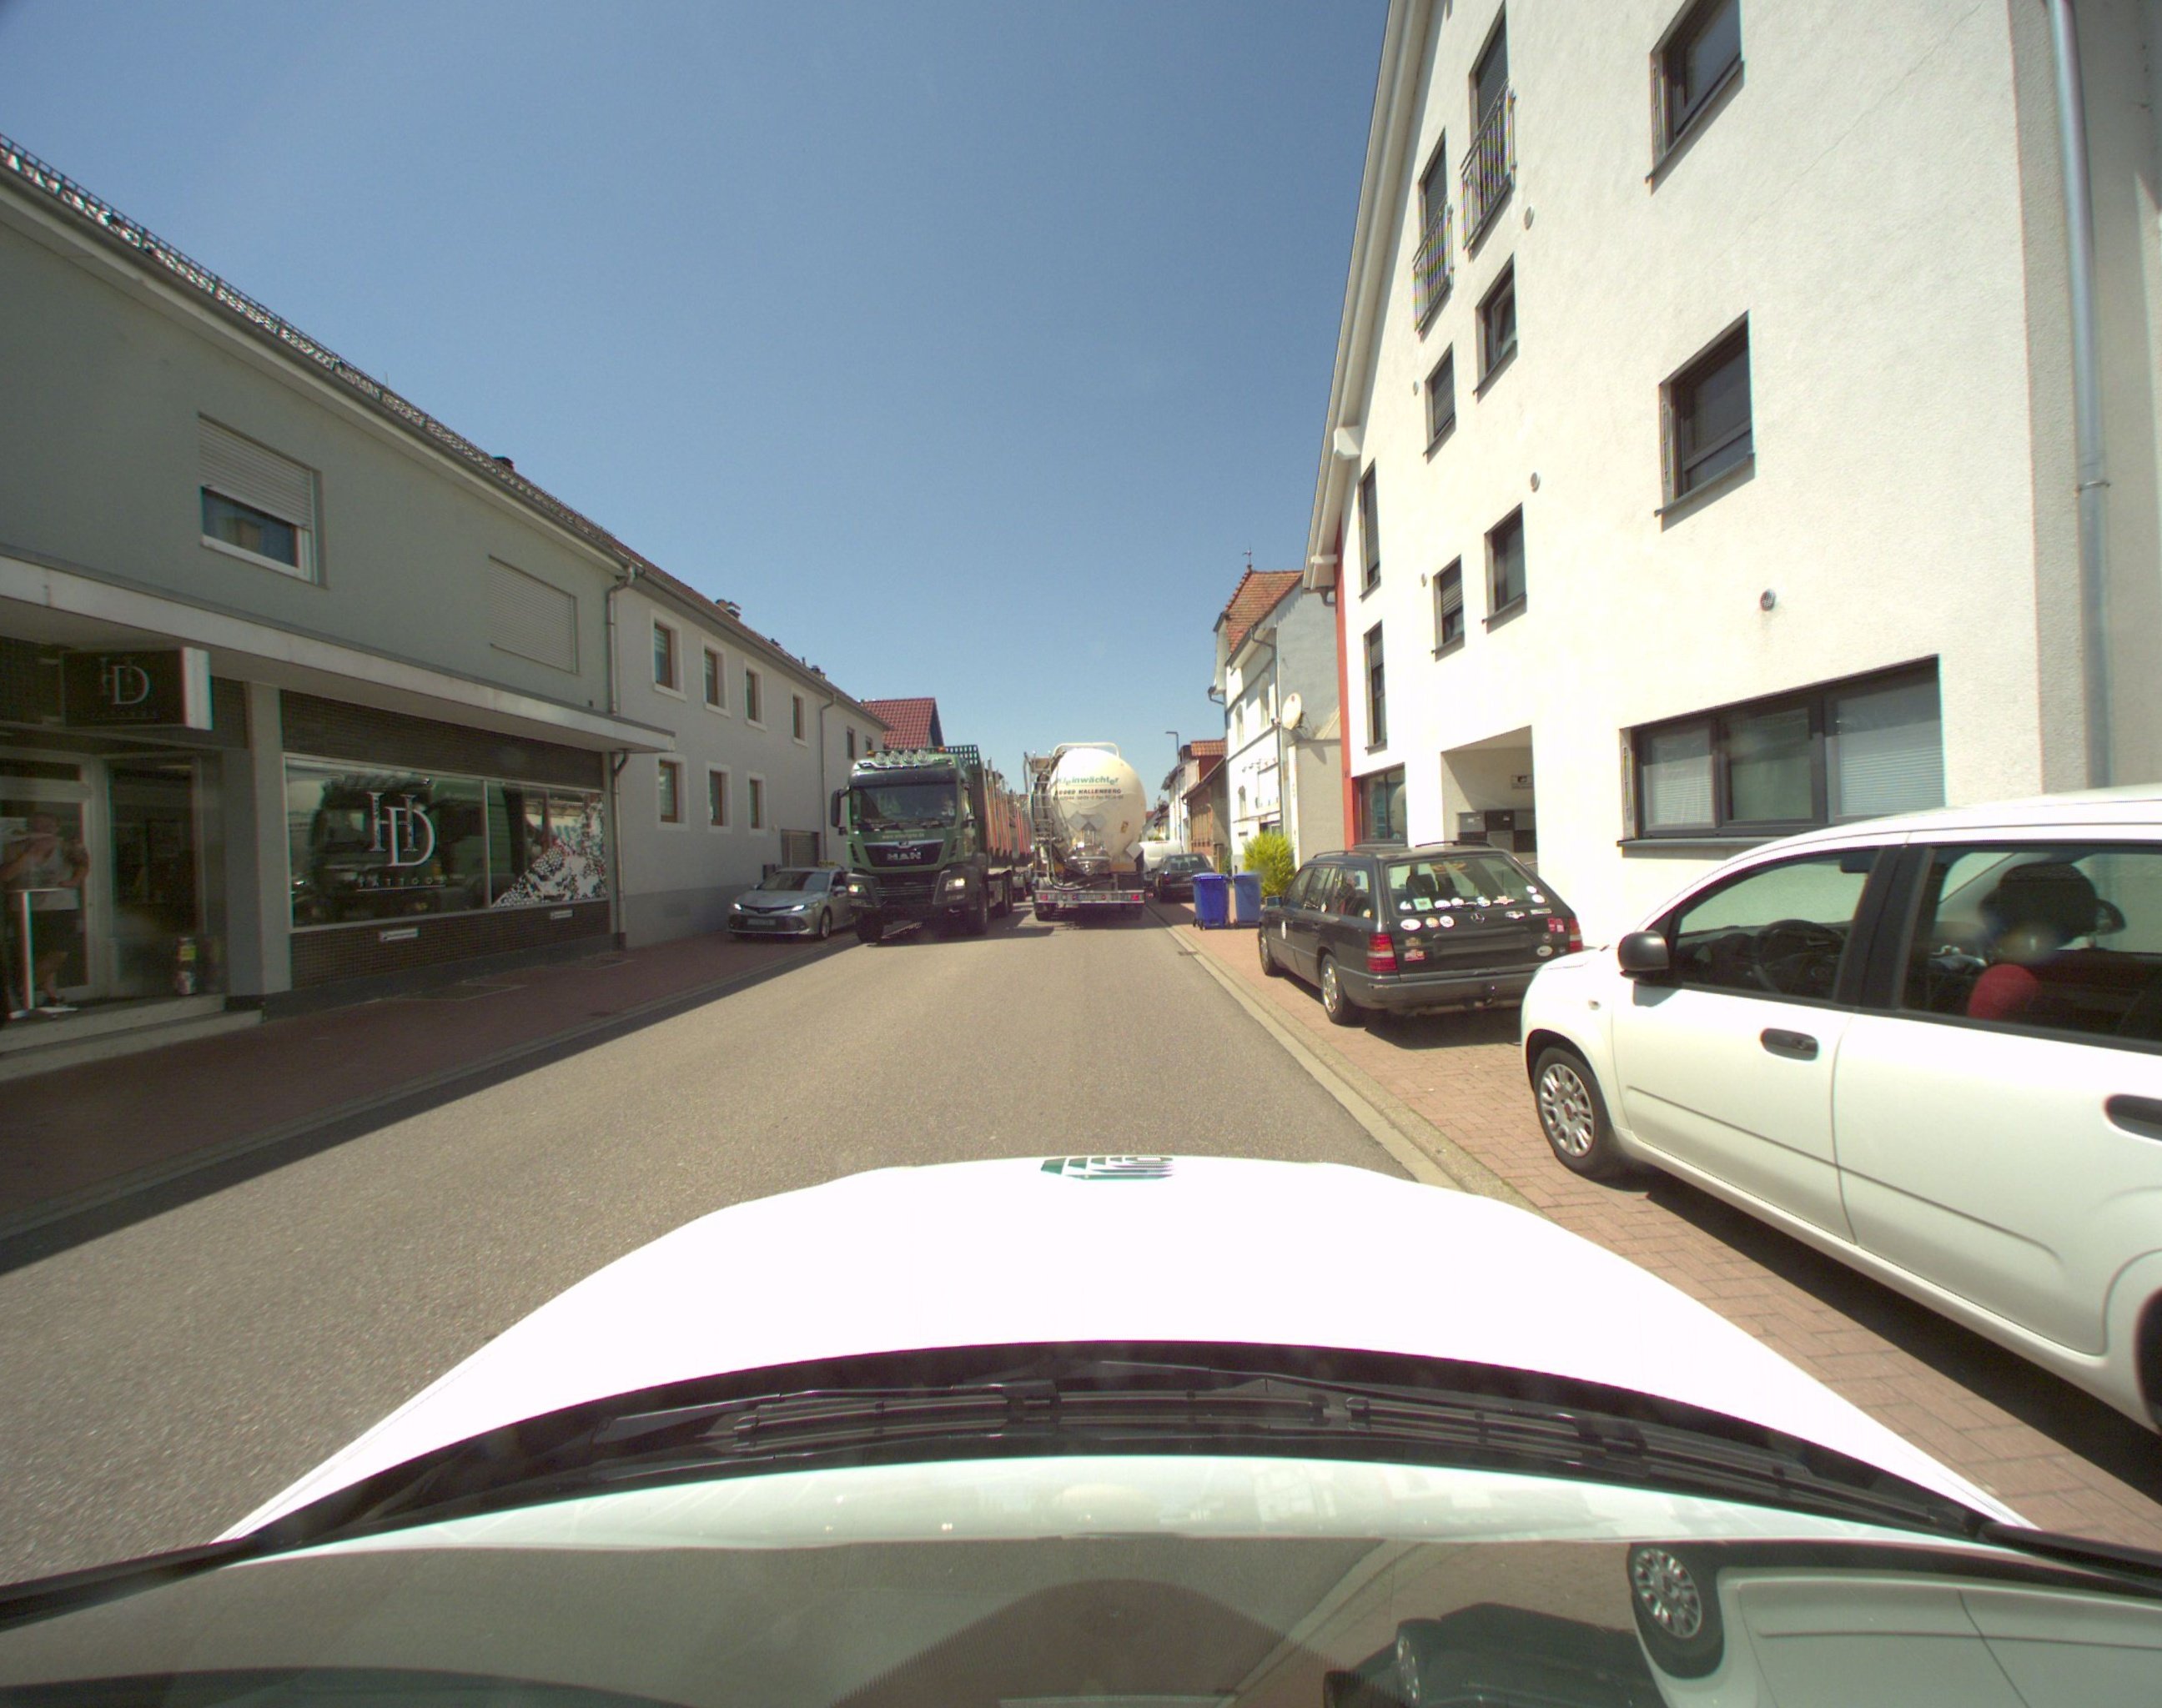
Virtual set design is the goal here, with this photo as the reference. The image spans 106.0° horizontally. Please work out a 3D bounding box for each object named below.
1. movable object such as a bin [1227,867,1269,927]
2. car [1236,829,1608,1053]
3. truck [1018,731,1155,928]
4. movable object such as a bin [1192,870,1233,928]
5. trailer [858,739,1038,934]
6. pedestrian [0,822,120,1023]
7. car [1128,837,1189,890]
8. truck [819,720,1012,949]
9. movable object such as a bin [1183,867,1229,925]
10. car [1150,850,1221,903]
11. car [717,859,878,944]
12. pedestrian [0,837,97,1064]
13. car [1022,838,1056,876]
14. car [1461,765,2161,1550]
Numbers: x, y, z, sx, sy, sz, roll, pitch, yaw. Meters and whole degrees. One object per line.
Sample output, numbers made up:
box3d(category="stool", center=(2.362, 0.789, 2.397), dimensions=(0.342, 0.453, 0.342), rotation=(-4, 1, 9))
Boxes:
box3d(category="movable object such as a bin", center=(3.217, 0.821, 15.689), dimensions=(0.649, 1.060, 0.839), rotation=(-4, 0, 17))
box3d(category="car", center=(2.872, 0.612, 8.180), dimensions=(1.694, 1.446, 4.837), rotation=(-5, 0, 1))
box3d(category="truck", center=(0.164, -0.475, 20.518), dimensions=(2.723, 3.960, 8.142), rotation=(-1, 0, 1))
box3d(category="movable object such as a bin", center=(2.567, 0.867, 15.858), dimensions=(0.650, 1.035, 0.687), rotation=(-4, 0, 16))
box3d(category="trailer", center=(-3.228, -0.377, 25.107), dimensions=(2.622, 3.979, 15.697), rotation=(-4, 0, 0))
box3d(category="pedestrian", center=(-9.229, 0.586, 7.390), dimensions=(0.657, 1.713, 0.635), rotation=(-1, -1, 41))
box3d(category="car", center=(3.130, 0.359, 33.832), dimensions=(1.940, 1.970, 4.783), rotation=(-3, 0, -1))
box3d(category="truck", center=(-3.284, -0.349, 18.160), dimensions=(2.610, 3.985, 6.852), rotation=(-4, 0, 0))
box3d(category="movable object such as a bin", center=(2.559, 0.849, 16.585), dimensions=(0.716, 1.073, 0.976), rotation=(-4, 0, 17))
box3d(category="car", center=(3.229, 0.638, 25.975), dimensions=(1.763, 1.466, 4.579), rotation=(-3, 0, 2))
box3d(category="car", center=(-5.947, 0.916, 17.734), dimensions=(1.802, 1.557, 4.566), rotation=(0, 0, 1))
box3d(category="pedestrian", center=(-8.323, 0.720, 6.228), dimensions=(0.622, 1.685, 0.771), rotation=(-1, 0, 0))
box3d(category="car", center=(-3.042, 0.186, 60.129), dimensions=(2.119, 2.542, 5.460), rotation=(-3, 0, -1))
box3d(category="car", center=(2.860, 0.529, 2.579), dimensions=(1.601, 1.522, 3.545), rotation=(-5, 0, 1))
